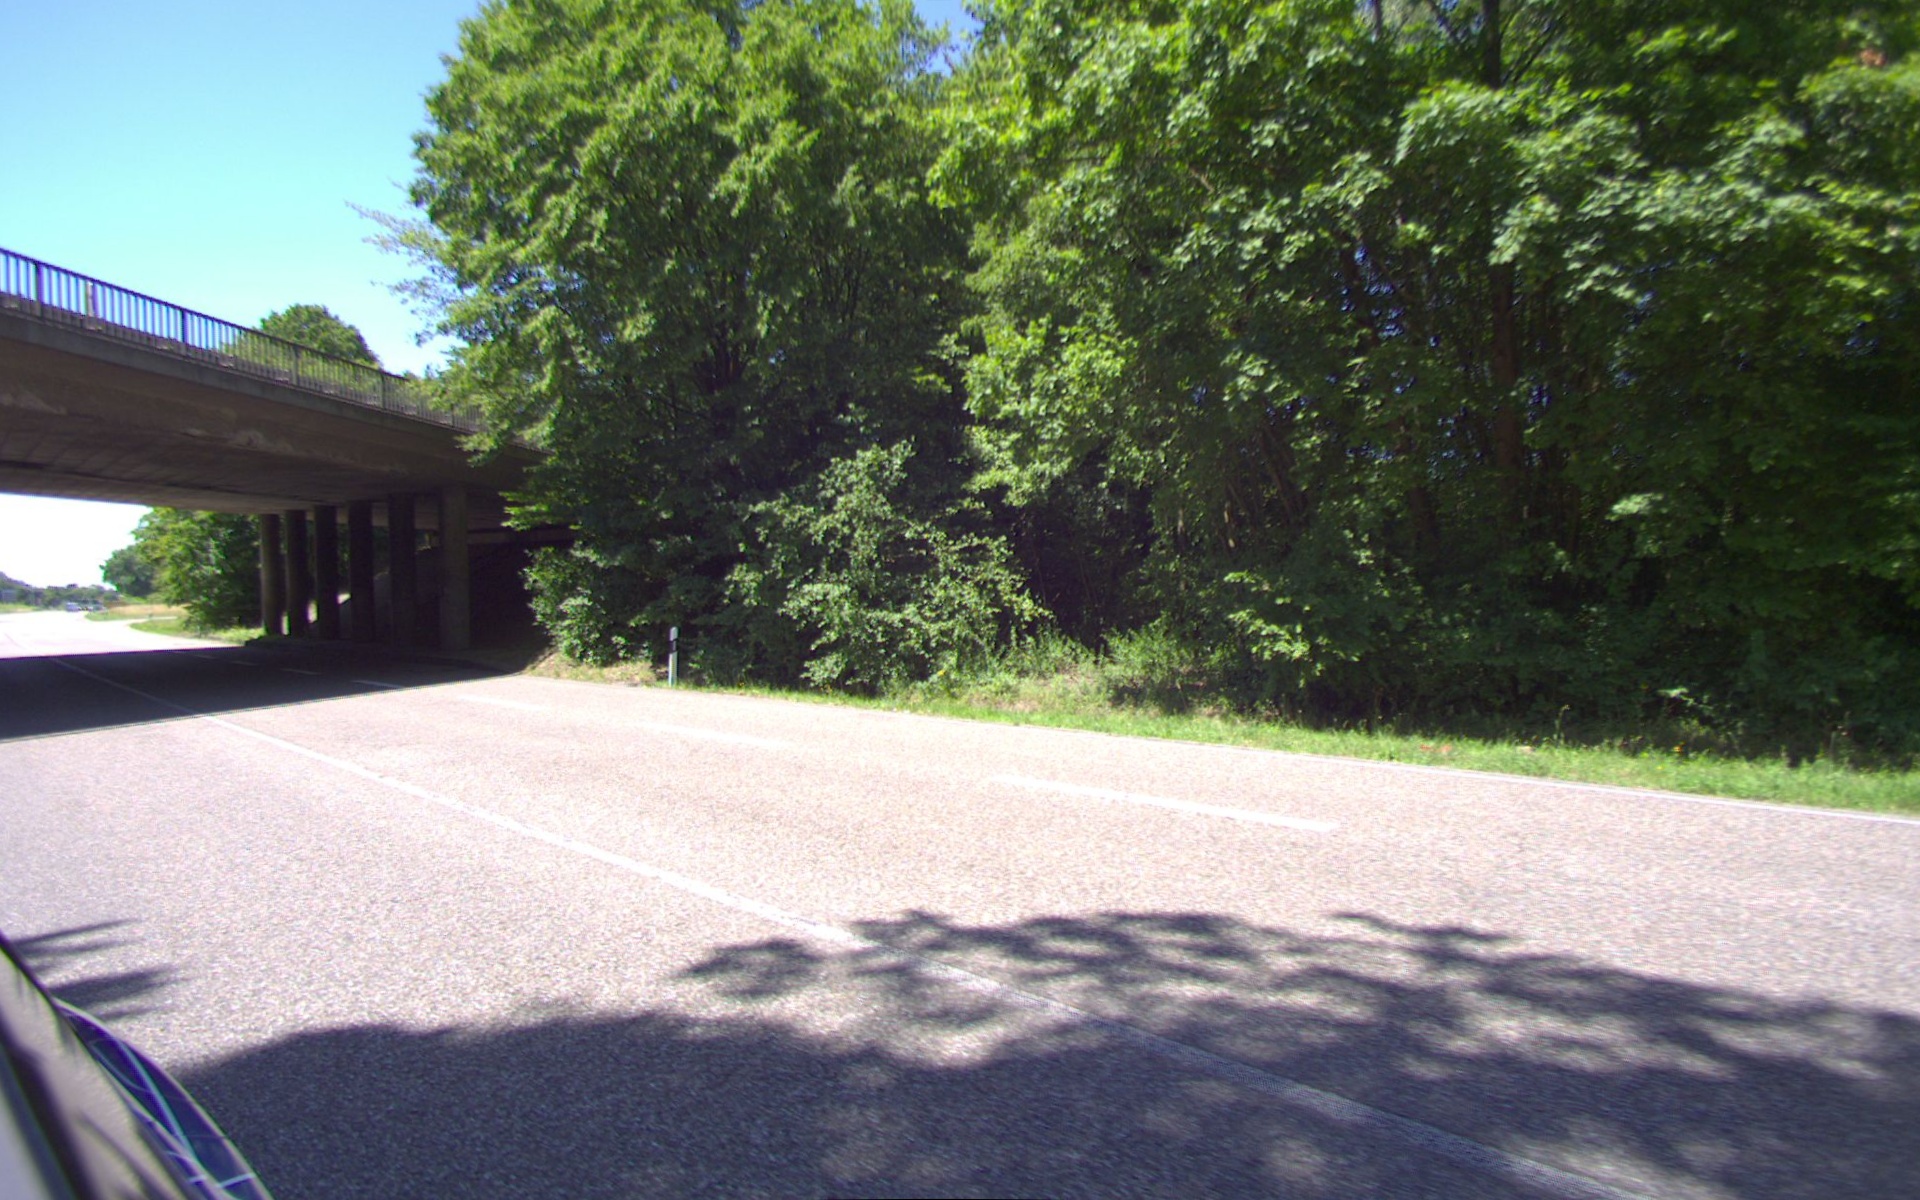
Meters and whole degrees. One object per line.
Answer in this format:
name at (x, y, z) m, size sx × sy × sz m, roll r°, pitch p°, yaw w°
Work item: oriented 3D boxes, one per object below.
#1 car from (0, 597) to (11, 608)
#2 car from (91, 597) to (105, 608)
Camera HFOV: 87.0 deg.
car at (-182.821, 0.422, 193.422) m, size 1.970 × 2.029 × 4.004 m, roll 0°, pitch 0°, yaw -43°
car at (-156.953, 0.455, 184.215) m, size 1.818 × 2.029 × 4.005 m, roll 0°, pitch -1°, yaw -42°
